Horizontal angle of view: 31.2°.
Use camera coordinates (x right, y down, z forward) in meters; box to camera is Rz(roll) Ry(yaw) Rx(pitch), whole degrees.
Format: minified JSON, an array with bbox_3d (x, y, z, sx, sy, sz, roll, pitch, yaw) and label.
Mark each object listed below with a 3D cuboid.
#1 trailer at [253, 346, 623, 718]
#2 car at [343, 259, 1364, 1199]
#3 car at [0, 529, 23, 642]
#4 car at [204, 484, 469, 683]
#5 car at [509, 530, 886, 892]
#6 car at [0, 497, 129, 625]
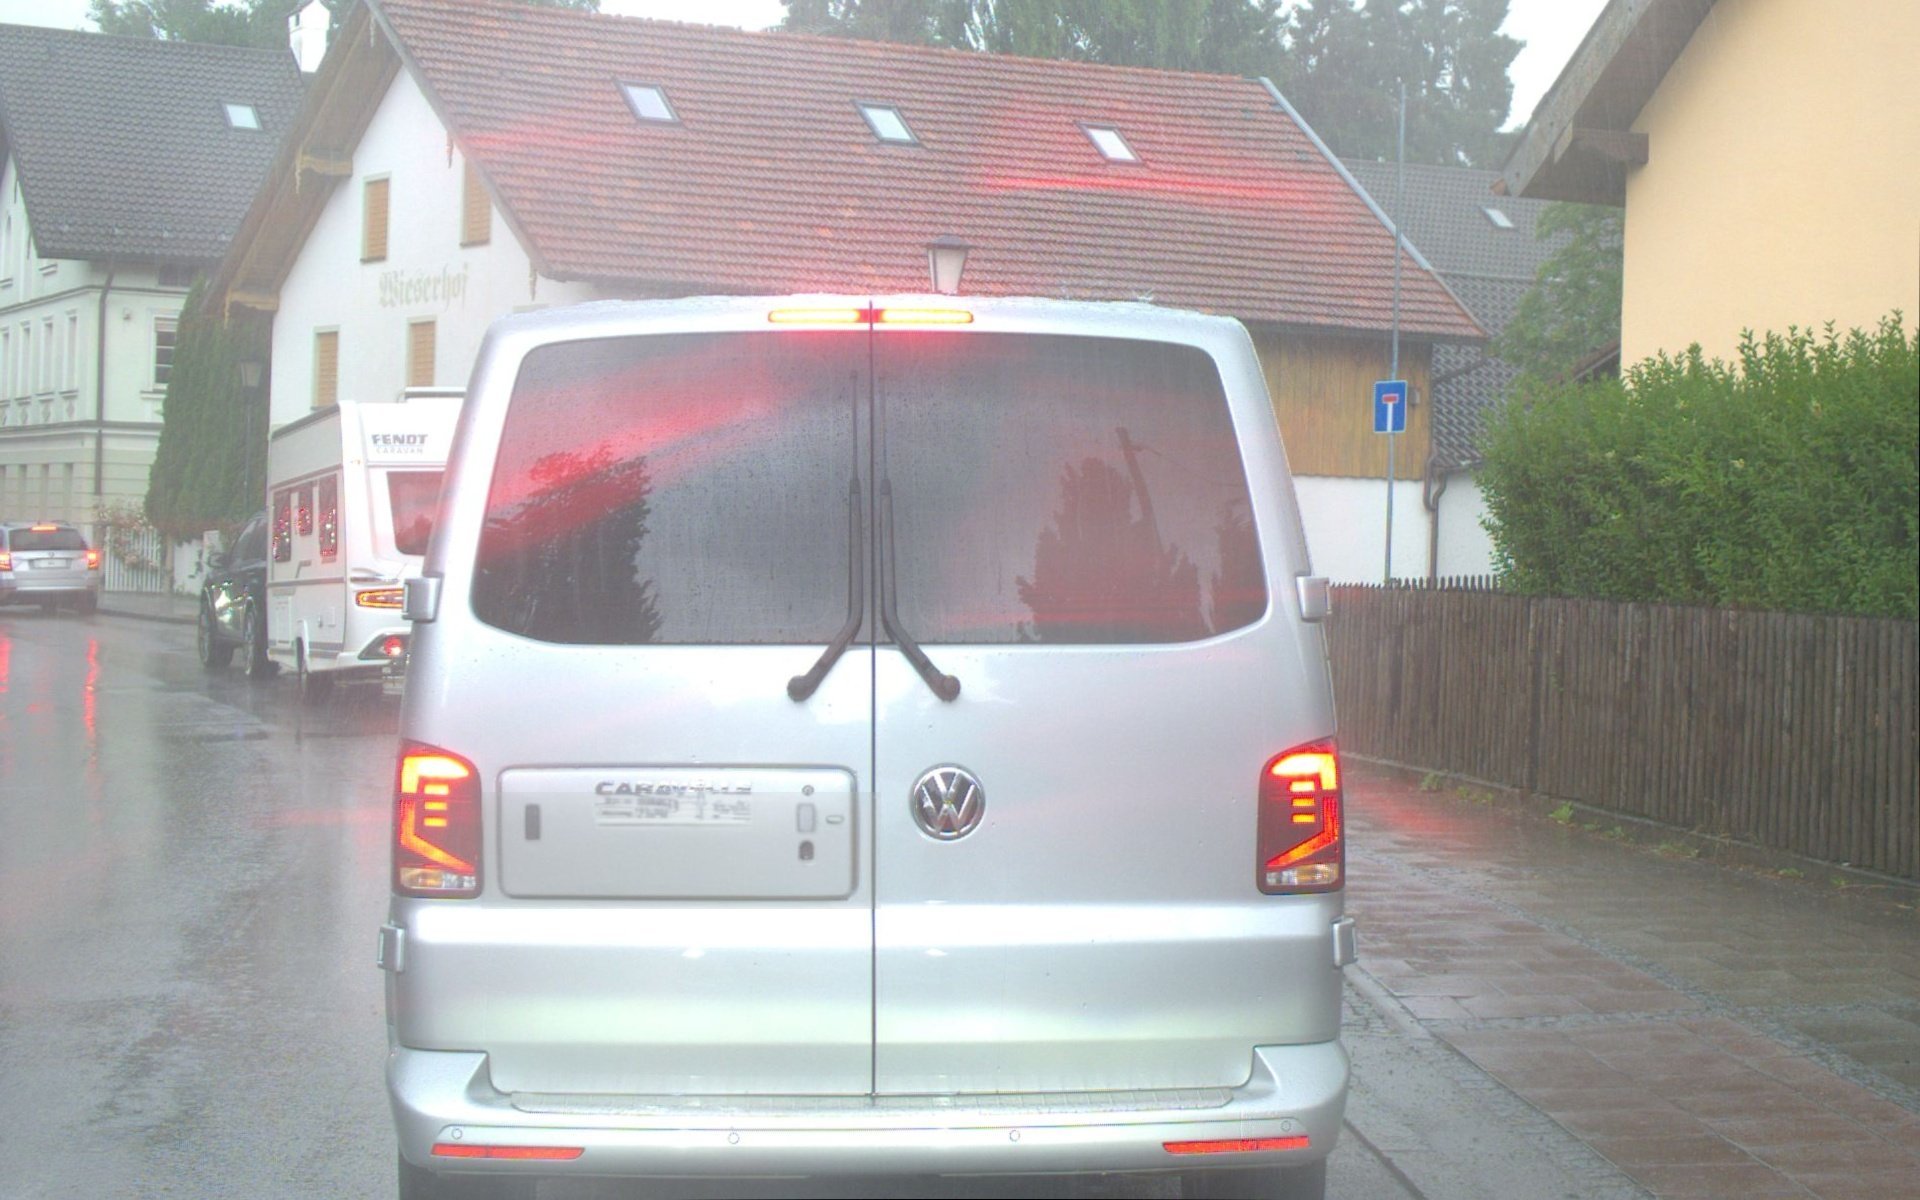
[{"bbox_3d":[-4.692,-0.581,29.998,2.270,2.894,6.134,0,1,-17],"label":"trailer"},{"bbox_3d":[-0.200,0.344,8.542,1.776,1.956,5.074,0,1,0],"label":"car"},{"bbox_3d":[-18.133,-0.349,60.444,2.168,1.892,5.015,2,1,-27],"label":"car"},{"bbox_3d":[-6.502,-0.205,35.392,2.053,1.892,5.177,0,1,-17],"label":"car"},{"bbox_3d":[-1.518,0.464,18.318,1.708,1.578,4.687,-1,2,-8],"label":"car"},{"bbox_3d":[-14.947,-0.639,54.795,2.168,1.893,5.015,2,0,-27],"label":"car"}]
